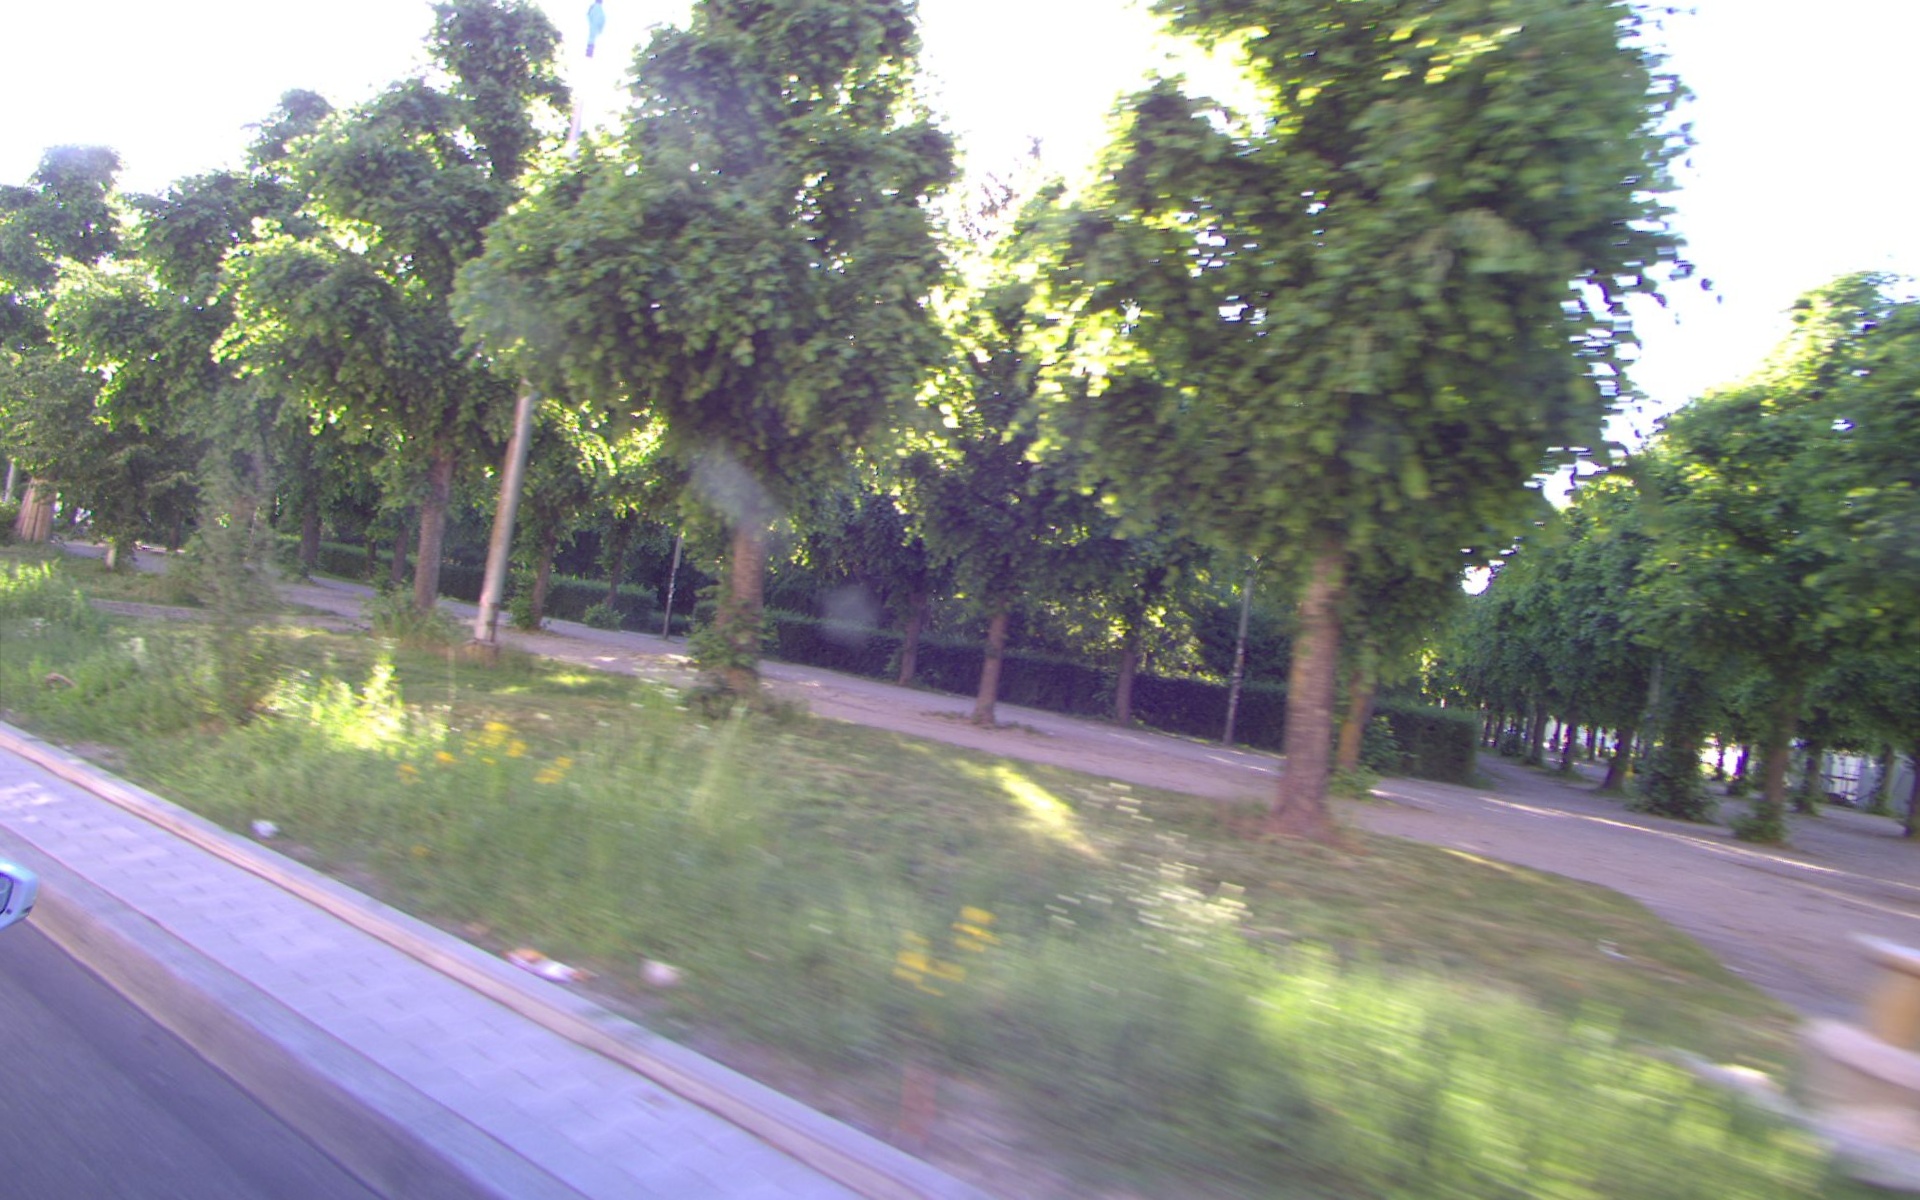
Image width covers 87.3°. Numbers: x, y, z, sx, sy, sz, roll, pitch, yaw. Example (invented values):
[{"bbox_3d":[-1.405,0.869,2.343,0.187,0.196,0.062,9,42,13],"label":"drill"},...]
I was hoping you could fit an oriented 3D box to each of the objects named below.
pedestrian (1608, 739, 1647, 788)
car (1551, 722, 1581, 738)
[{"bbox_3d":[24.021,5.876,36.193,0.823,1.601,0.682,8,-1,15],"label":"pedestrian"},{"bbox_3d":[101.382,21.734,168.253,3.930,2.036,2.000,8,-1,27],"label":"car"}]
